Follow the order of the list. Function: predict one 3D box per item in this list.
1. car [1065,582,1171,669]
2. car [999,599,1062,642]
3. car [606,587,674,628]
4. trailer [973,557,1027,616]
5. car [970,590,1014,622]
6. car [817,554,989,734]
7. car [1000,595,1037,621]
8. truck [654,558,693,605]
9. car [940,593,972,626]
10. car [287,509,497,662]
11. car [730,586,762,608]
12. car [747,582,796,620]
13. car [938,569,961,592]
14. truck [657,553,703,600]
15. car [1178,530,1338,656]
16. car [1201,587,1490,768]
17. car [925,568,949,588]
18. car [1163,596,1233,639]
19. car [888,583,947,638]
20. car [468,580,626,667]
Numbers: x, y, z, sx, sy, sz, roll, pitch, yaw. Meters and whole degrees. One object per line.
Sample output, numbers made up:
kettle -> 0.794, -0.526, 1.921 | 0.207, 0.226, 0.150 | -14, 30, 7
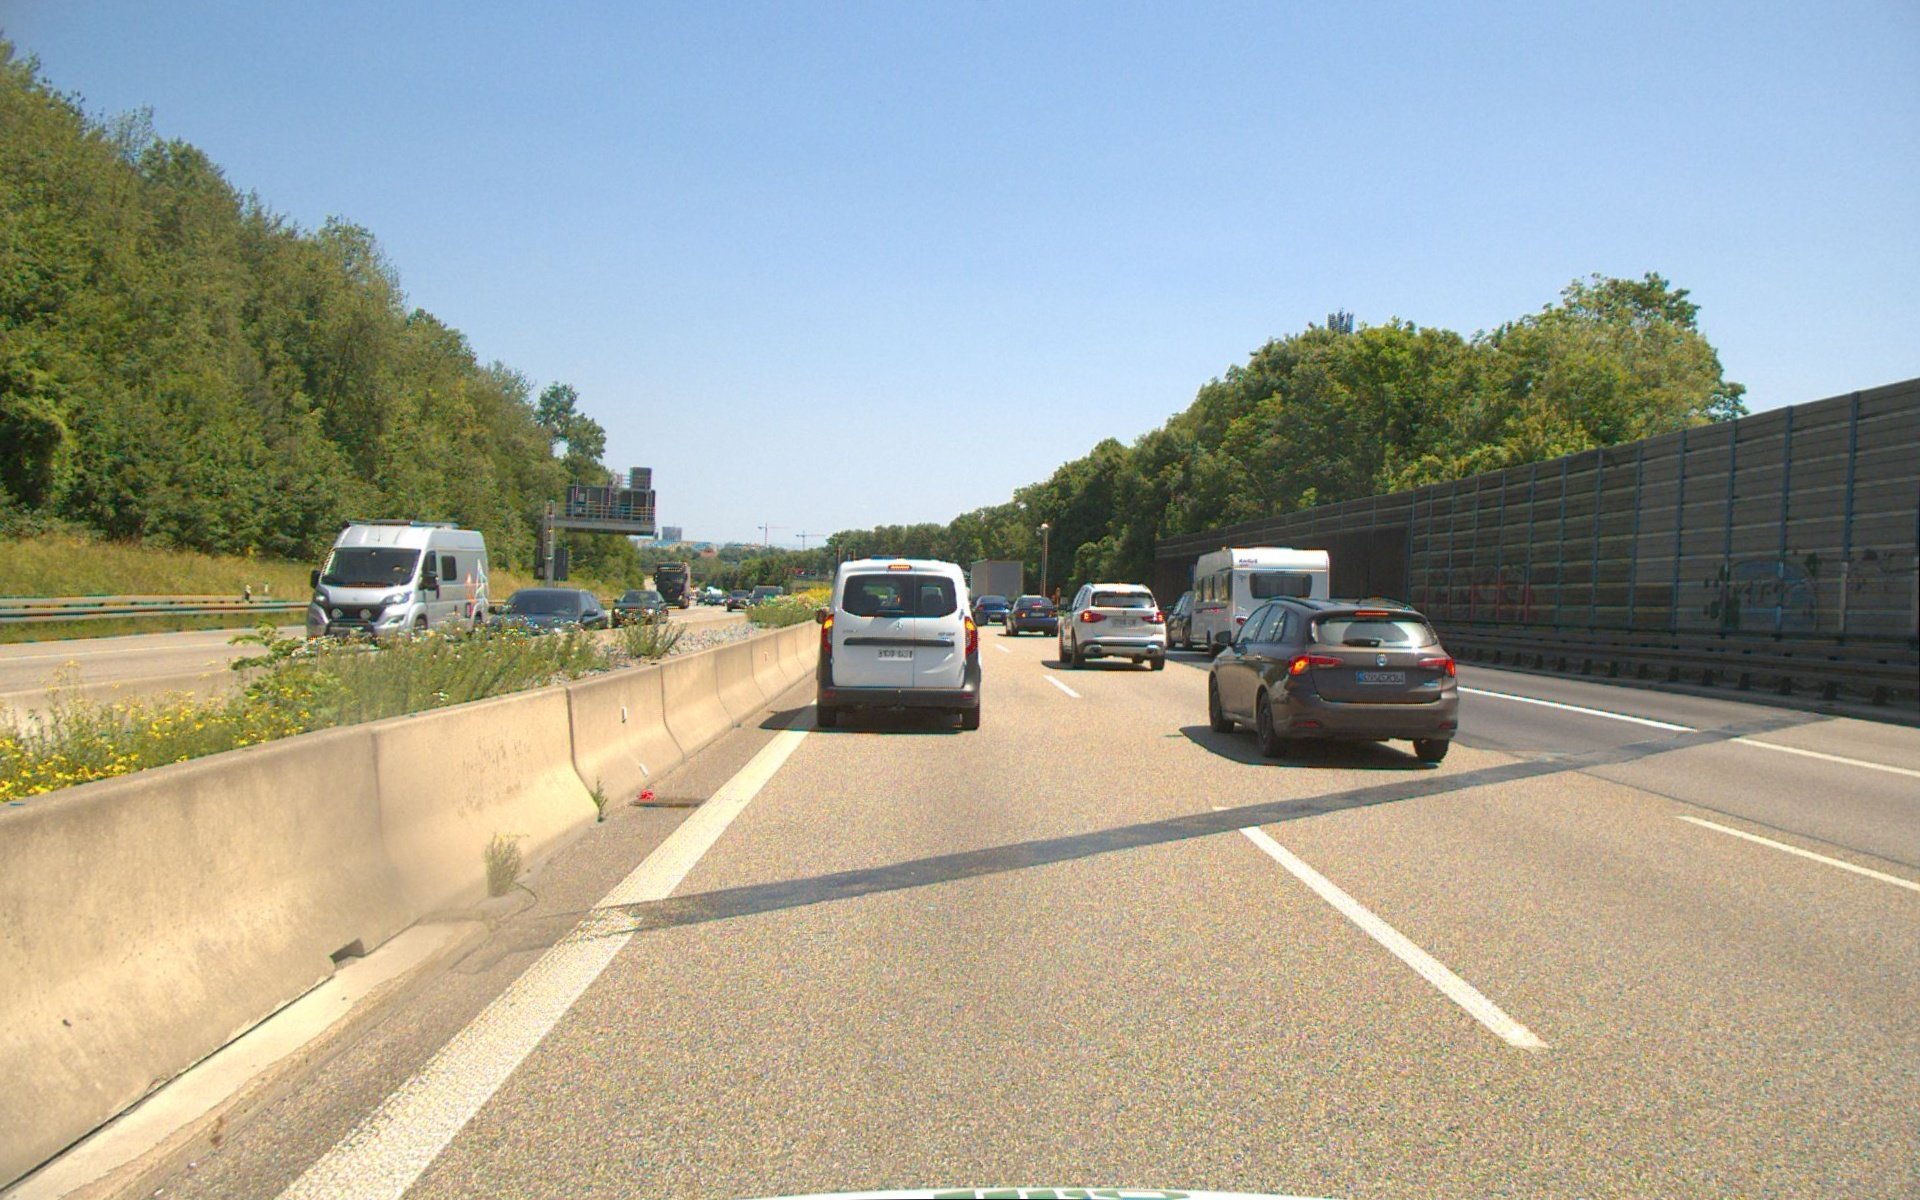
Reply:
car -> 3.185, 0.477, 34.051 | 1.832, 1.636, 3.879 | 1, 1, 1
car -> 2.450, 0.702, 58.338 | 1.788, 1.449, 3.997 | 1, 0, -4
car -> -11.909, 0.255, 61.874 | 1.776, 1.426, 4.270 | 1, 1, -1
trailer -> 2.845, -0.941, 121.133 | 3.021, 4.055, 10.315 | 1, 0, -3
car -> 1.504, 0.270, 79.466 | 1.788, 1.449, 3.997 | 1, 0, -4
car -> -0.562, 0.445, 19.106 | 1.765, 1.839, 4.000 | 1, 0, 1
car -> 3.458, 0.452, 97.862 | 1.788, 1.449, 3.997 | 1, 0, -4
truck -> -24.980, -1.581, 144.554 | 2.773, 4.008, 6.001 | 1, 0, -4
car -> -0.263, 0.619, 104.189 | 1.788, 2.024, 3.997 | 0, -1, -4
car -> -11.234, -0.276, 33.292 | 2.170, 2.748, 6.061 | 1, 0, -1
car -> -16.347, -0.230, 126.327 | 1.953, 1.656, 4.473 | 1, 0, -2
car -> -9.101, 0.036, 80.120 | 1.953, 1.754, 4.355 | 1, 1, -1
car -> -0.969, -1.761, 152.783 | 1.954, 2.049, 3.997 | 1, 0, -3
truck -> -25.471, -2.079, 151.072 | 2.773, 4.007, 13.733 | 1, 0, -4
car -> 7.134, -0.169, 40.440 | 2.430, 2.814, 6.215 | 1, 0, -4
car -> 3.707, 0.666, 16.733 | 1.801, 1.539, 4.401 | 1, 1, -1
car -> -2.375, -2.265, 169.835 | 1.956, 2.049, 3.994 | 1, 0, -7
car -> 8.392, 0.593, 58.502 | 1.787, 1.449, 3.999 | 1, 0, -2
car -> -1.559, 0.349, 59.500 | 1.954, 1.892, 3.997 | 1, 0, -4
car -> -7.475, 0.391, 30.369 | 1.837, 1.435, 4.411 | 1, 0, -1
